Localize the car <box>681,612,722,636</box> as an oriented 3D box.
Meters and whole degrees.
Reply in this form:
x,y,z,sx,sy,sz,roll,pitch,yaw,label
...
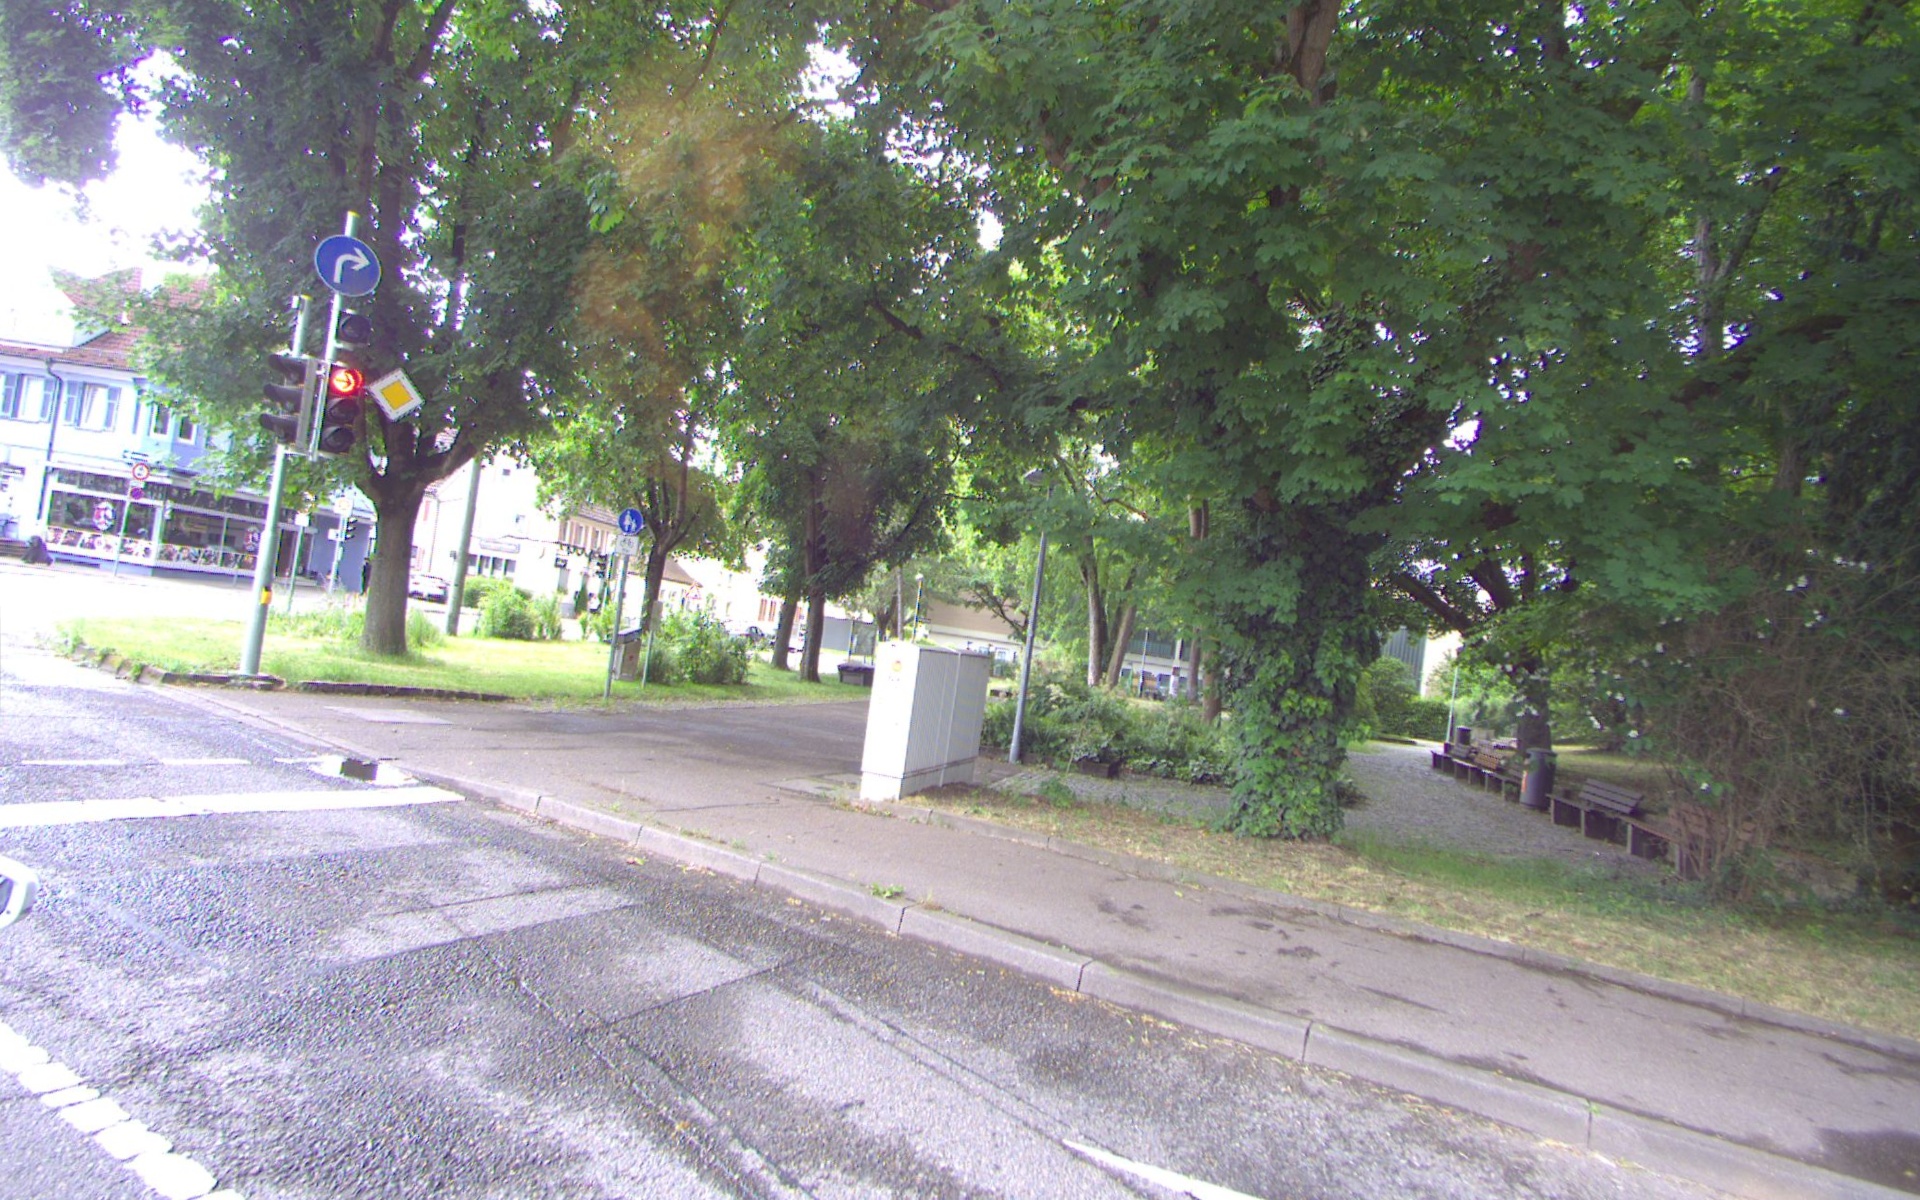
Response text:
x,y,z,sx,sy,sz,roll,pitch,yaw,label
-18.957,1.770,74.039,1.736,1.463,3.865,7,-2,2,car

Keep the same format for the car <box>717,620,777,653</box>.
x,y,z,sx,sy,sz,roll,pitch,yaw,label
-11.560,2.016,54.931,1.618,1.474,3.740,7,-2,13,car

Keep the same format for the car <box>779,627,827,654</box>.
x,y,z,sx,sy,sz,roll,pitch,yaw,label
-10.270,2.657,66.036,1.618,1.474,3.740,7,-2,13,car

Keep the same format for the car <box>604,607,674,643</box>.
x,y,z,sx,sy,sz,roll,pitch,yaw,label
-14.036,1.103,44.150,1.436,1.282,3.014,7,-2,13,car

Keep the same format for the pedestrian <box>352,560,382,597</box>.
x,y,z,sx,sy,sz,roll,pitch,yaw,label
-26.788,-0.972,45.449,0.732,1.578,0.673,6,-1,17,pedestrian

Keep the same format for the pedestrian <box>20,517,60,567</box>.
x,y,z,sx,sy,sz,roll,pitch,yaw,label
-31.054,-1.939,33.955,0.688,1.578,0.662,7,-1,-27,pedestrian

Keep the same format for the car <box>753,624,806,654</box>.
x,y,z,sx,sy,sz,roll,pitch,yaw,label
-10.696,2.340,59.904,1.618,1.474,3.740,7,-2,13,car

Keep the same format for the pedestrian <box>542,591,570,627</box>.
x,y,z,sx,sy,sz,roll,pitch,yaw,label
-12.966,0.296,32.288,0.506,1.093,0.507,6,-1,17,pedestrian

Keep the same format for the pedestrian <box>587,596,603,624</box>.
x,y,z,sx,sy,sz,roll,pitch,yaw,label
-21.519,0.606,59.246,0.500,1.578,0.505,6,-1,17,pedestrian

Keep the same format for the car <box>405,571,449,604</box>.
x,y,z,sx,sy,sz,roll,pitch,yaw,label
-28.171,-0.689,53.159,1.870,1.406,3.589,9,-2,-28,car
